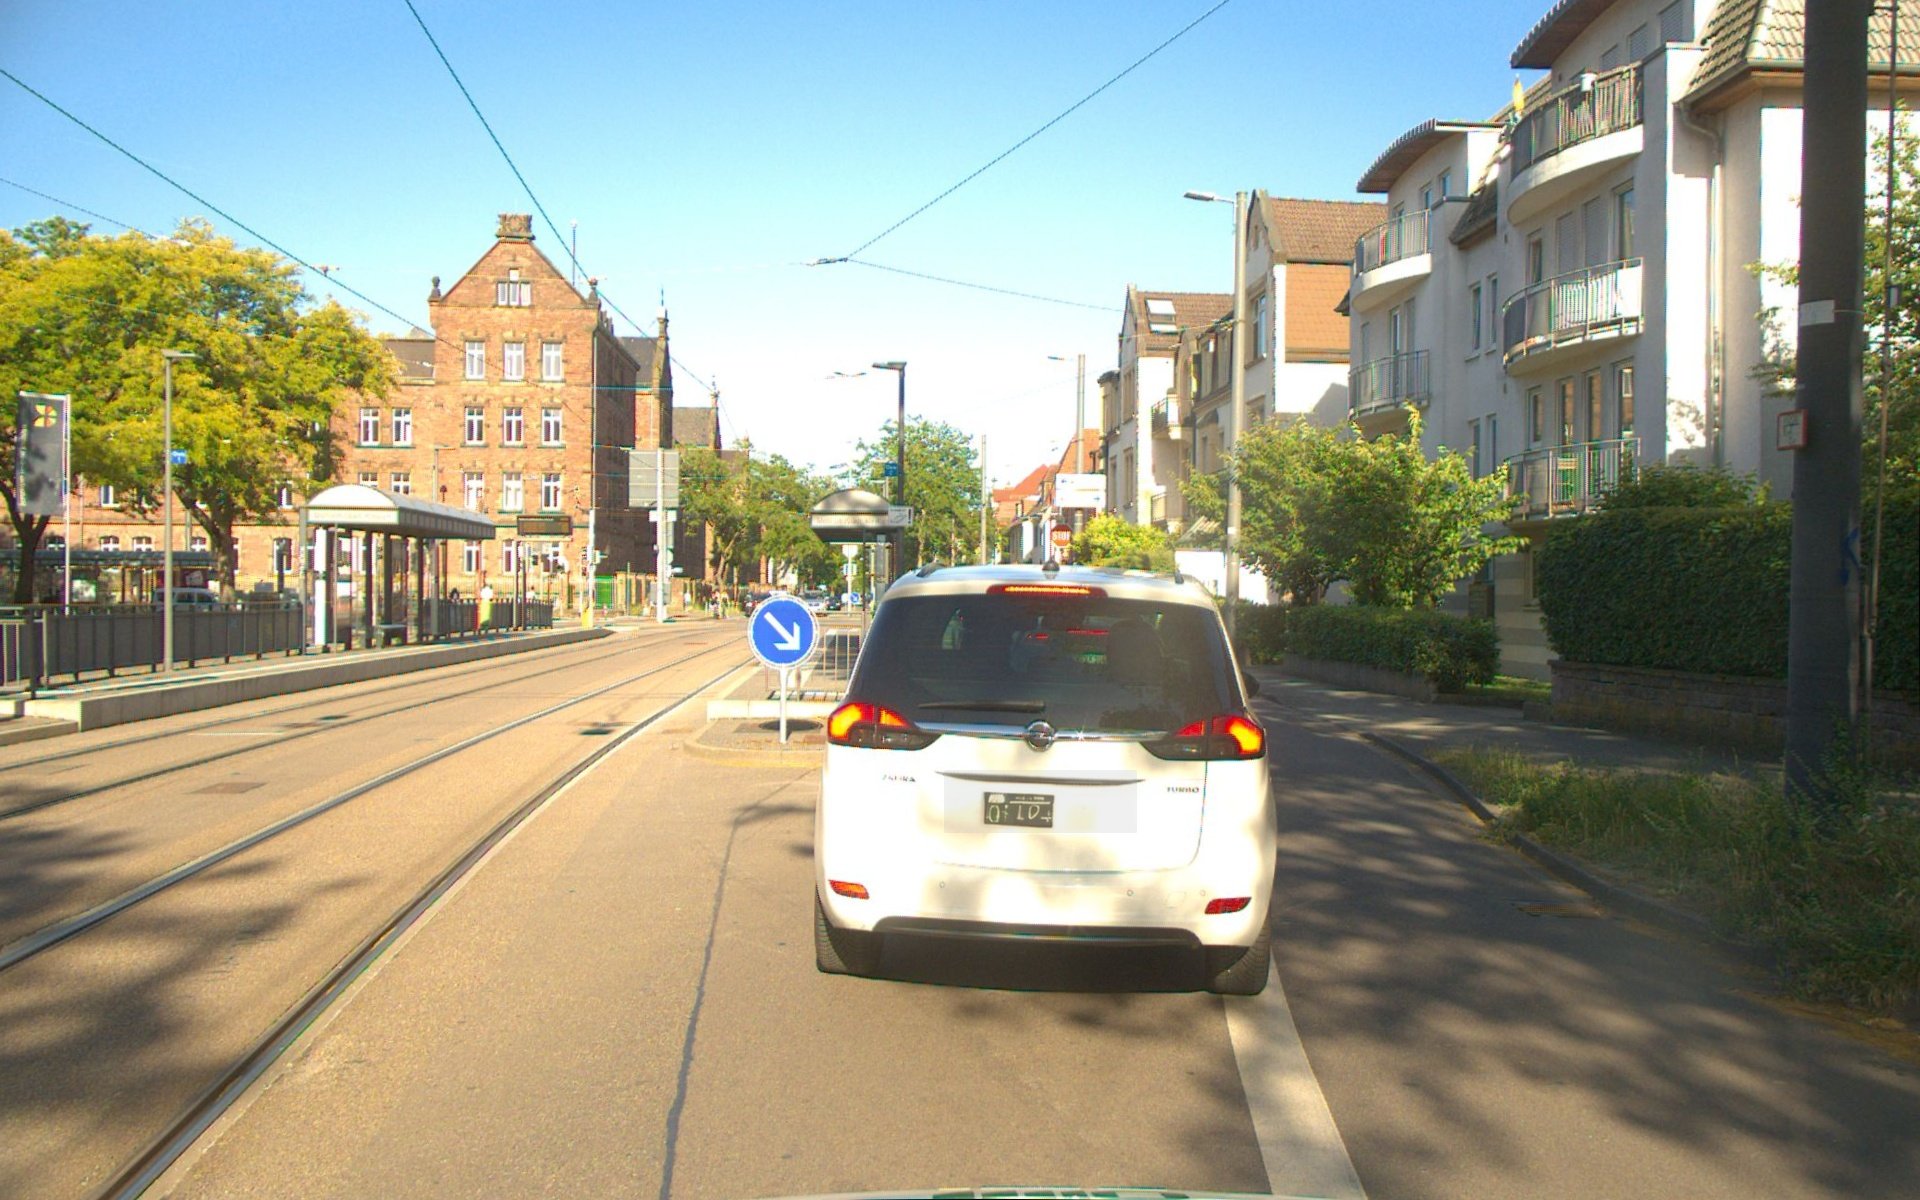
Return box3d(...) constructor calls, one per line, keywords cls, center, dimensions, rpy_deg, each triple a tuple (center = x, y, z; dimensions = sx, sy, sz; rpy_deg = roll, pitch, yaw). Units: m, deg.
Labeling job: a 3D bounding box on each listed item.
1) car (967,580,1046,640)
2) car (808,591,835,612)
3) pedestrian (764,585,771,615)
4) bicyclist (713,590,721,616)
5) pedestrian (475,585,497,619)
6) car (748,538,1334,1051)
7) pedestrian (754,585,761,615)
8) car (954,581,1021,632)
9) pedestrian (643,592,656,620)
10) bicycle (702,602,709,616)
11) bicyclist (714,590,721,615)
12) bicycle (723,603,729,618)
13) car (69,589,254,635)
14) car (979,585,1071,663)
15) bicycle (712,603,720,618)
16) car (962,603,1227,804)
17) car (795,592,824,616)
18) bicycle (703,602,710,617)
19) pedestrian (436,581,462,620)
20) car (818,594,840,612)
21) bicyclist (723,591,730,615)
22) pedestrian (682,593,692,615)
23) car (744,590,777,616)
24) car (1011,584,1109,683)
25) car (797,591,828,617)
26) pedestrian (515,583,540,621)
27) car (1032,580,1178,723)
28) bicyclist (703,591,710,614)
box3d(cls="car", center=(1.196, 0.257, 44.302), dimensions=(1.953, 1.529, 3.999), rpy_deg=(0, 0, -1))
box3d(cls="car", center=(-10.974, 0.134, 130.998), dimensions=(1.953, 1.657, 3.998), rpy_deg=(0, 0, -3))
box3d(cls="pedestrian", center=(-13.070, 0.013, 112.037), dimensions=(0.435, 2.049, 0.495), rpy_deg=(0, 0, -4))
box3d(cls="bicyclist", center=(-15.162, 0.173, 103.037), dimensions=(0.435, 1.580, 0.742), rpy_deg=(0, 0, -4))
box3d(cls="pedestrian", center=(-22.425, 0.099, 78.295), dimensions=(0.786, 1.616, 0.934), rpy_deg=(1, 0, -3))
box3d(cls="car", center=(0.455, 0.649, 7.587), dimensions=(1.951, 1.673, 3.996), rpy_deg=(1, 0, 6))
box3d(cls="pedestrian", center=(-13.657, 0.002, 111.739), dimensions=(0.435, 2.049, 0.495), rpy_deg=(0, 0, -4))
box3d(cls="car", center=(0.824, 0.190, 51.758), dimensions=(1.953, 1.529, 3.999), rpy_deg=(0, 0, -1))
box3d(cls="pedestrian", center=(-19.121, 0.380, 101.883), dimensions=(0.720, 1.744, 0.705), rpy_deg=(1, -1, -7))
box3d(cls="bicycle", center=(-17.665, 0.655, 114.847), dimensions=(0.337, 0.966, 0.996), rpy_deg=(1, 0, -4))
box3d(cls="bicyclist", center=(-15.584, 0.181, 106.312), dimensions=(0.435, 1.580, 0.495), rpy_deg=(0, 0, -4))
box3d(cls="bicycle", center=(-15.403, 0.670, 108.906), dimensions=(0.337, 0.966, 0.996), rpy_deg=(1, 0, -4))
box3d(cls="car", center=(-35.732, 0.529, 74.177), dimensions=(6.810, 1.954, 2.991), rpy_deg=(0, 0, -2))
box3d(cls="car", center=(1.376, 0.492, 36.181), dimensions=(1.793, 1.607, 4.009), rpy_deg=(0, 0, -1))
box3d(cls="bicycle", center=(-15.171, 0.648, 102.828), dimensions=(0.337, 0.966, 1.159), rpy_deg=(1, 0, -4))
box3d(cls="car", center=(1.029, 0.749, 13.975), dimensions=(1.912, 1.422, 4.001), rpy_deg=(0, 0, 1))
box3d(cls="car", center=(-10.361, 0.257, 114.243), dimensions=(1.955, 1.657, 3.996), rpy_deg=(0, 0, -5))
box3d(cls="bicycle", center=(-17.327, 0.654, 113.023), dimensions=(0.337, 0.966, 0.996), rpy_deg=(1, 0, -4))
box3d(cls="pedestrian", center=(-23.080, 0.037, 74.712), dimensions=(0.825, 1.721, 1.029), rpy_deg=(1, 0, -1))
box3d(cls="car", center=(-12.147, 0.283, 153.106), dimensions=(1.955, 1.657, 3.984), rpy_deg=(0, 0, -5))
box3d(cls="bicyclist", center=(-15.393, 0.195, 108.900), dimensions=(0.435, 1.580, 0.495), rpy_deg=(0, 0, -4))
box3d(cls="pedestrian", center=(-21.052, 0.312, 127.471), dimensions=(0.720, 1.744, 0.753), rpy_deg=(1, -1, -6))
box3d(cls="car", center=(-12.866, 0.192, 106.876), dimensions=(1.955, 1.657, 3.996), rpy_deg=(0, 0, -5))
box3d(cls="car", center=(1.711, 0.550, 29.262), dimensions=(1.603, 1.629, 3.855), rpy_deg=(0, 0, 1))
box3d(cls="car", center=(-9.556, 0.241, 107.149), dimensions=(1.955, 1.657, 3.996), rpy_deg=(0, 0, -5))
box3d(cls="pedestrian", center=(-20.218, 0.089, 77.245), dimensions=(0.877, 1.713, 1.029), rpy_deg=(1, 0, -1))
box3d(cls="car", center=(1.738, 0.585, 20.834), dimensions=(1.603, 1.629, 3.855), rpy_deg=(0, 0, 1))
box3d(cls="bicyclist", center=(-17.342, 0.177, 112.981), dimensions=(0.435, 1.580, 0.495), rpy_deg=(0, 0, -4))
